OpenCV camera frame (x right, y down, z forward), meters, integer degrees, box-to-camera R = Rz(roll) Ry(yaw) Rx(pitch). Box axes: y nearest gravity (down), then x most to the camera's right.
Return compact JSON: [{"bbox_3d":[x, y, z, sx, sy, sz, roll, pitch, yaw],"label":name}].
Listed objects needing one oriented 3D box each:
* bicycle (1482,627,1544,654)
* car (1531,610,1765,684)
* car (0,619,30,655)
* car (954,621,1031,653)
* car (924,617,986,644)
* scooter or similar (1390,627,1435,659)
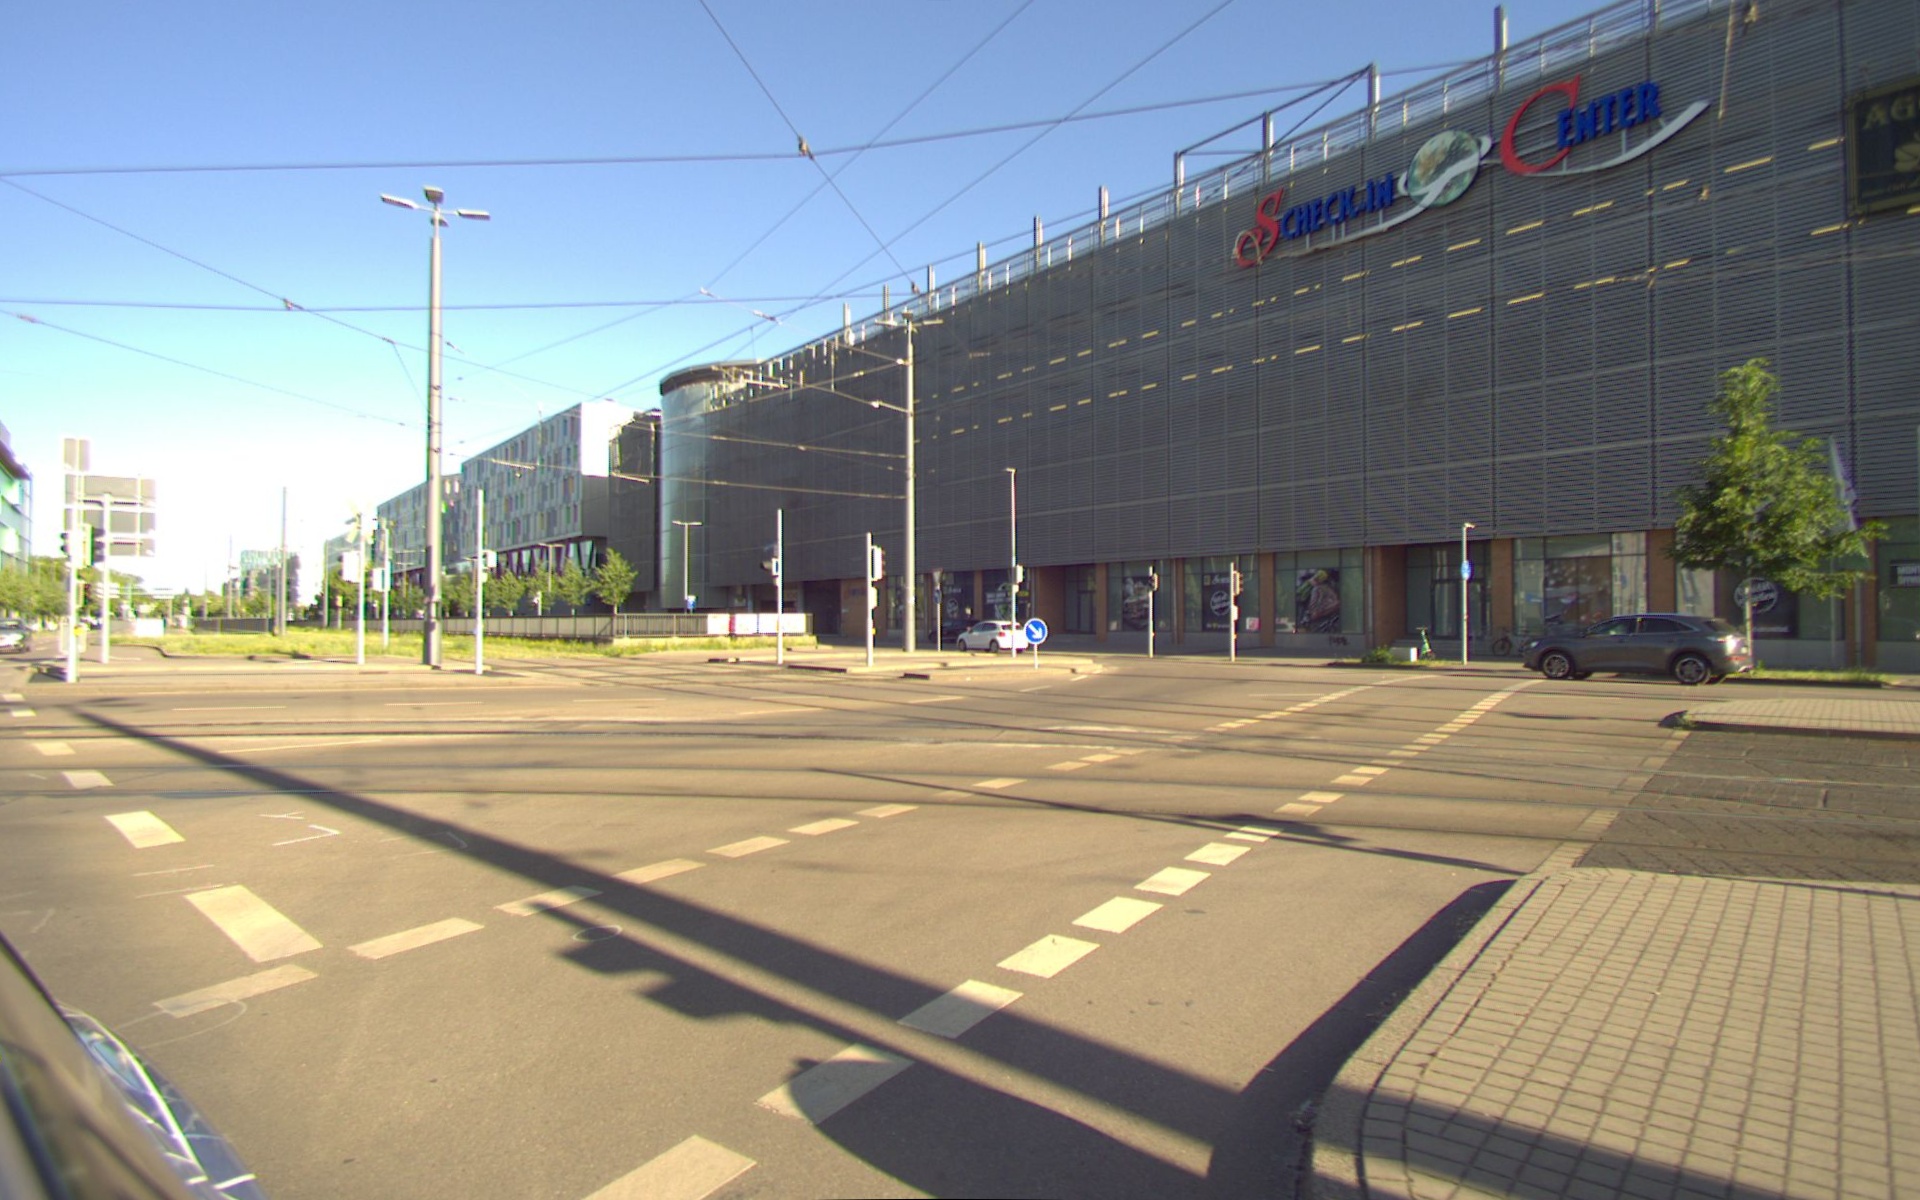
[{"bbox_3d":[20.766,1.510,38.044,0.577,0.988,1.971,1,-1,-39],"label":"bicycle"},{"bbox_3d":[16.203,1.071,24.004,1.784,1.587,4.299,2,-2,-42],"label":"car"},{"bbox_3d":[-39.552,1.515,41.760,1.596,1.440,3.772,1,-1,-41],"label":"car"},{"bbox_3d":[1.454,1.653,45.996,1.664,1.382,3.599,1,-1,-35],"label":"car"},{"bbox_3d":[-0.322,1.814,60.659,1.561,1.541,3.754,-1,0,-44],"label":"car"},{"bbox_3d":[15.751,1.490,35.250,1.361,1.050,0.430,-1,0,39],"label":"scooter or similar"}]
